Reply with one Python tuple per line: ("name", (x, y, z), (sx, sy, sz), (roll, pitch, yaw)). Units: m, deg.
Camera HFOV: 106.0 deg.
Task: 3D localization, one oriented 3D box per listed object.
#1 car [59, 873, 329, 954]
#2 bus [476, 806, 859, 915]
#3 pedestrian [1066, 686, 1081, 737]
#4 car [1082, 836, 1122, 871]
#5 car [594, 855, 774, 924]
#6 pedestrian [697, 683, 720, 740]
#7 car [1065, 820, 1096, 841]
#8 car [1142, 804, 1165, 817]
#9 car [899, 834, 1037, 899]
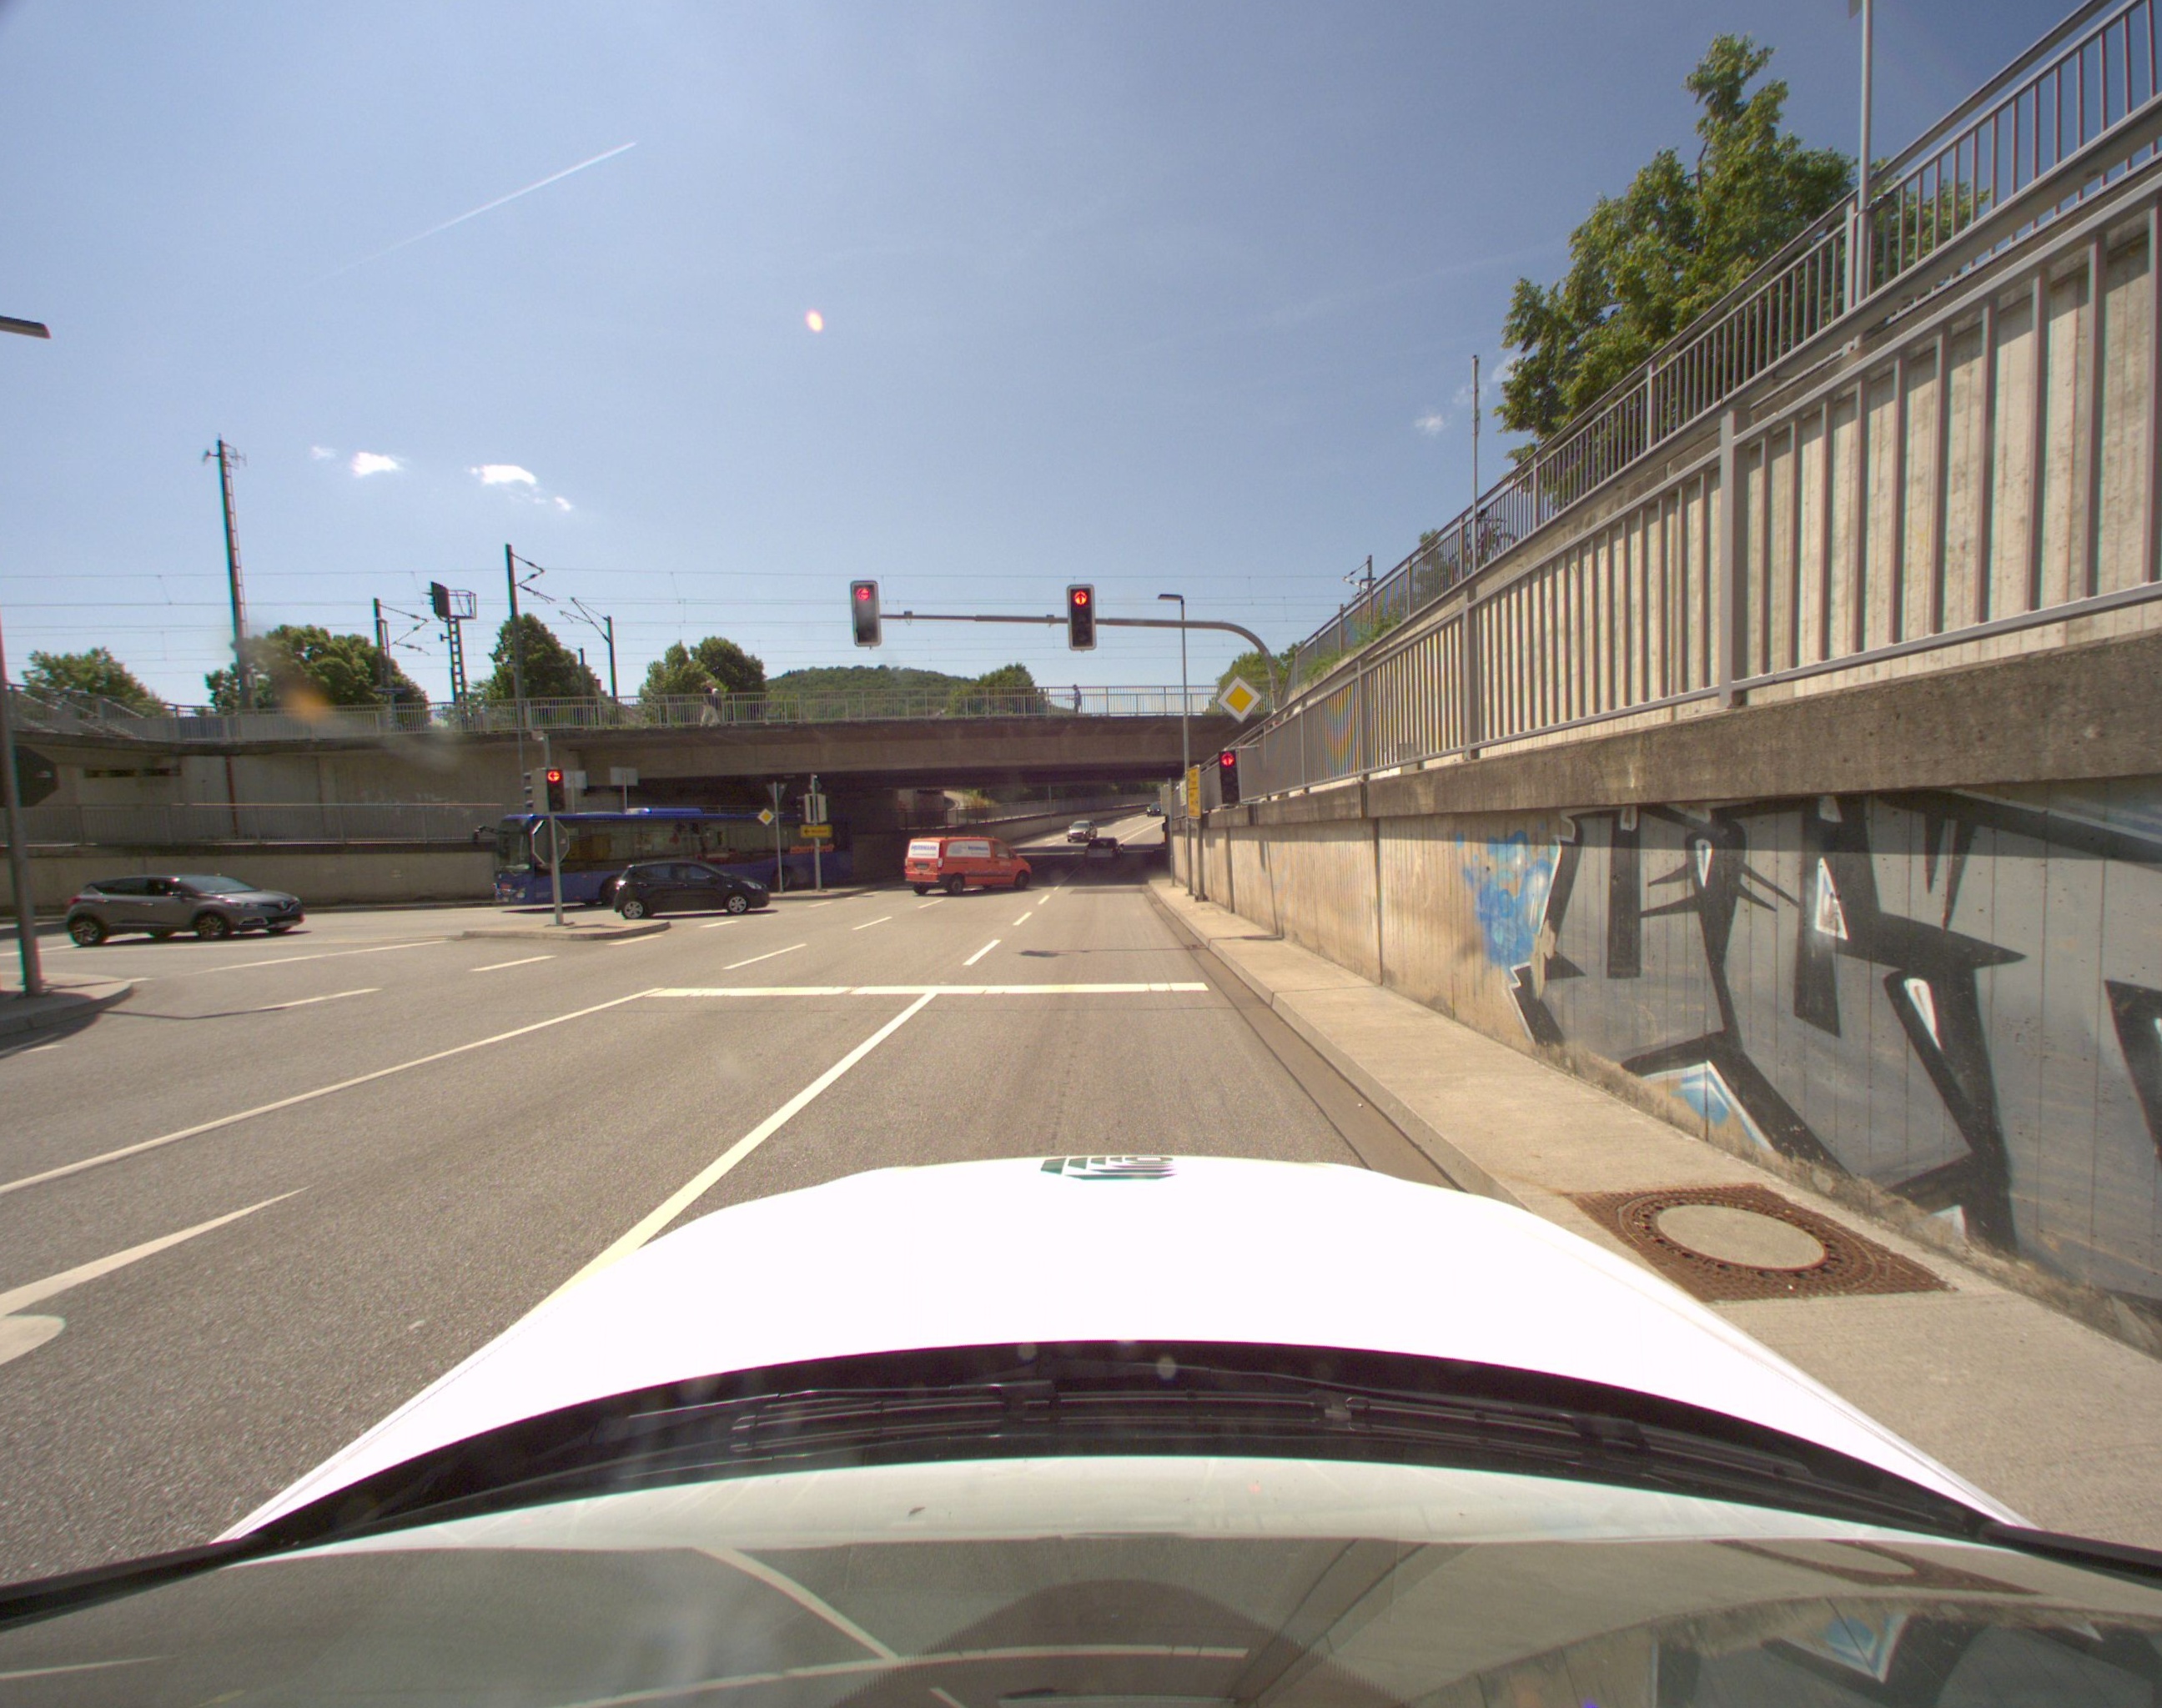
("car", (-21.094, 1.369, 19.546), (3.981, 1.588, 1.997), (-1, 2, -6))
("bus", (-13.919, -0.079, 29.448), (2.556, 3.172, 12.458), (0, 3, 36))
("pedestrian", (-0.314, -6.094, 34.810), (0.538, 2.081, 0.534), (-2, 0, -5))
("car", (1.147, -0.065, 42.393), (1.795, 1.617, 4.007), (-1, 2, 5))
("car", (-10.199, 0.849, 21.301), (4.001, 1.508, 1.987), (-2, 2, -20))
("pedestrian", (-14.061, -5.375, 30.737), (0.576, 2.081, 0.533), (-2, 0, -9))
("car", (0.014, -1.973, 67.054), (1.982, 1.627, 4.010), (-1, 2, 8))
("car", (8.813, -5.253, 98.514), (1.767, 1.436, 4.021), (0, 2, 20))
("car", (-3.807, 0.346, 28.295), (1.855, 1.932, 4.750), (0, 3, 38))
